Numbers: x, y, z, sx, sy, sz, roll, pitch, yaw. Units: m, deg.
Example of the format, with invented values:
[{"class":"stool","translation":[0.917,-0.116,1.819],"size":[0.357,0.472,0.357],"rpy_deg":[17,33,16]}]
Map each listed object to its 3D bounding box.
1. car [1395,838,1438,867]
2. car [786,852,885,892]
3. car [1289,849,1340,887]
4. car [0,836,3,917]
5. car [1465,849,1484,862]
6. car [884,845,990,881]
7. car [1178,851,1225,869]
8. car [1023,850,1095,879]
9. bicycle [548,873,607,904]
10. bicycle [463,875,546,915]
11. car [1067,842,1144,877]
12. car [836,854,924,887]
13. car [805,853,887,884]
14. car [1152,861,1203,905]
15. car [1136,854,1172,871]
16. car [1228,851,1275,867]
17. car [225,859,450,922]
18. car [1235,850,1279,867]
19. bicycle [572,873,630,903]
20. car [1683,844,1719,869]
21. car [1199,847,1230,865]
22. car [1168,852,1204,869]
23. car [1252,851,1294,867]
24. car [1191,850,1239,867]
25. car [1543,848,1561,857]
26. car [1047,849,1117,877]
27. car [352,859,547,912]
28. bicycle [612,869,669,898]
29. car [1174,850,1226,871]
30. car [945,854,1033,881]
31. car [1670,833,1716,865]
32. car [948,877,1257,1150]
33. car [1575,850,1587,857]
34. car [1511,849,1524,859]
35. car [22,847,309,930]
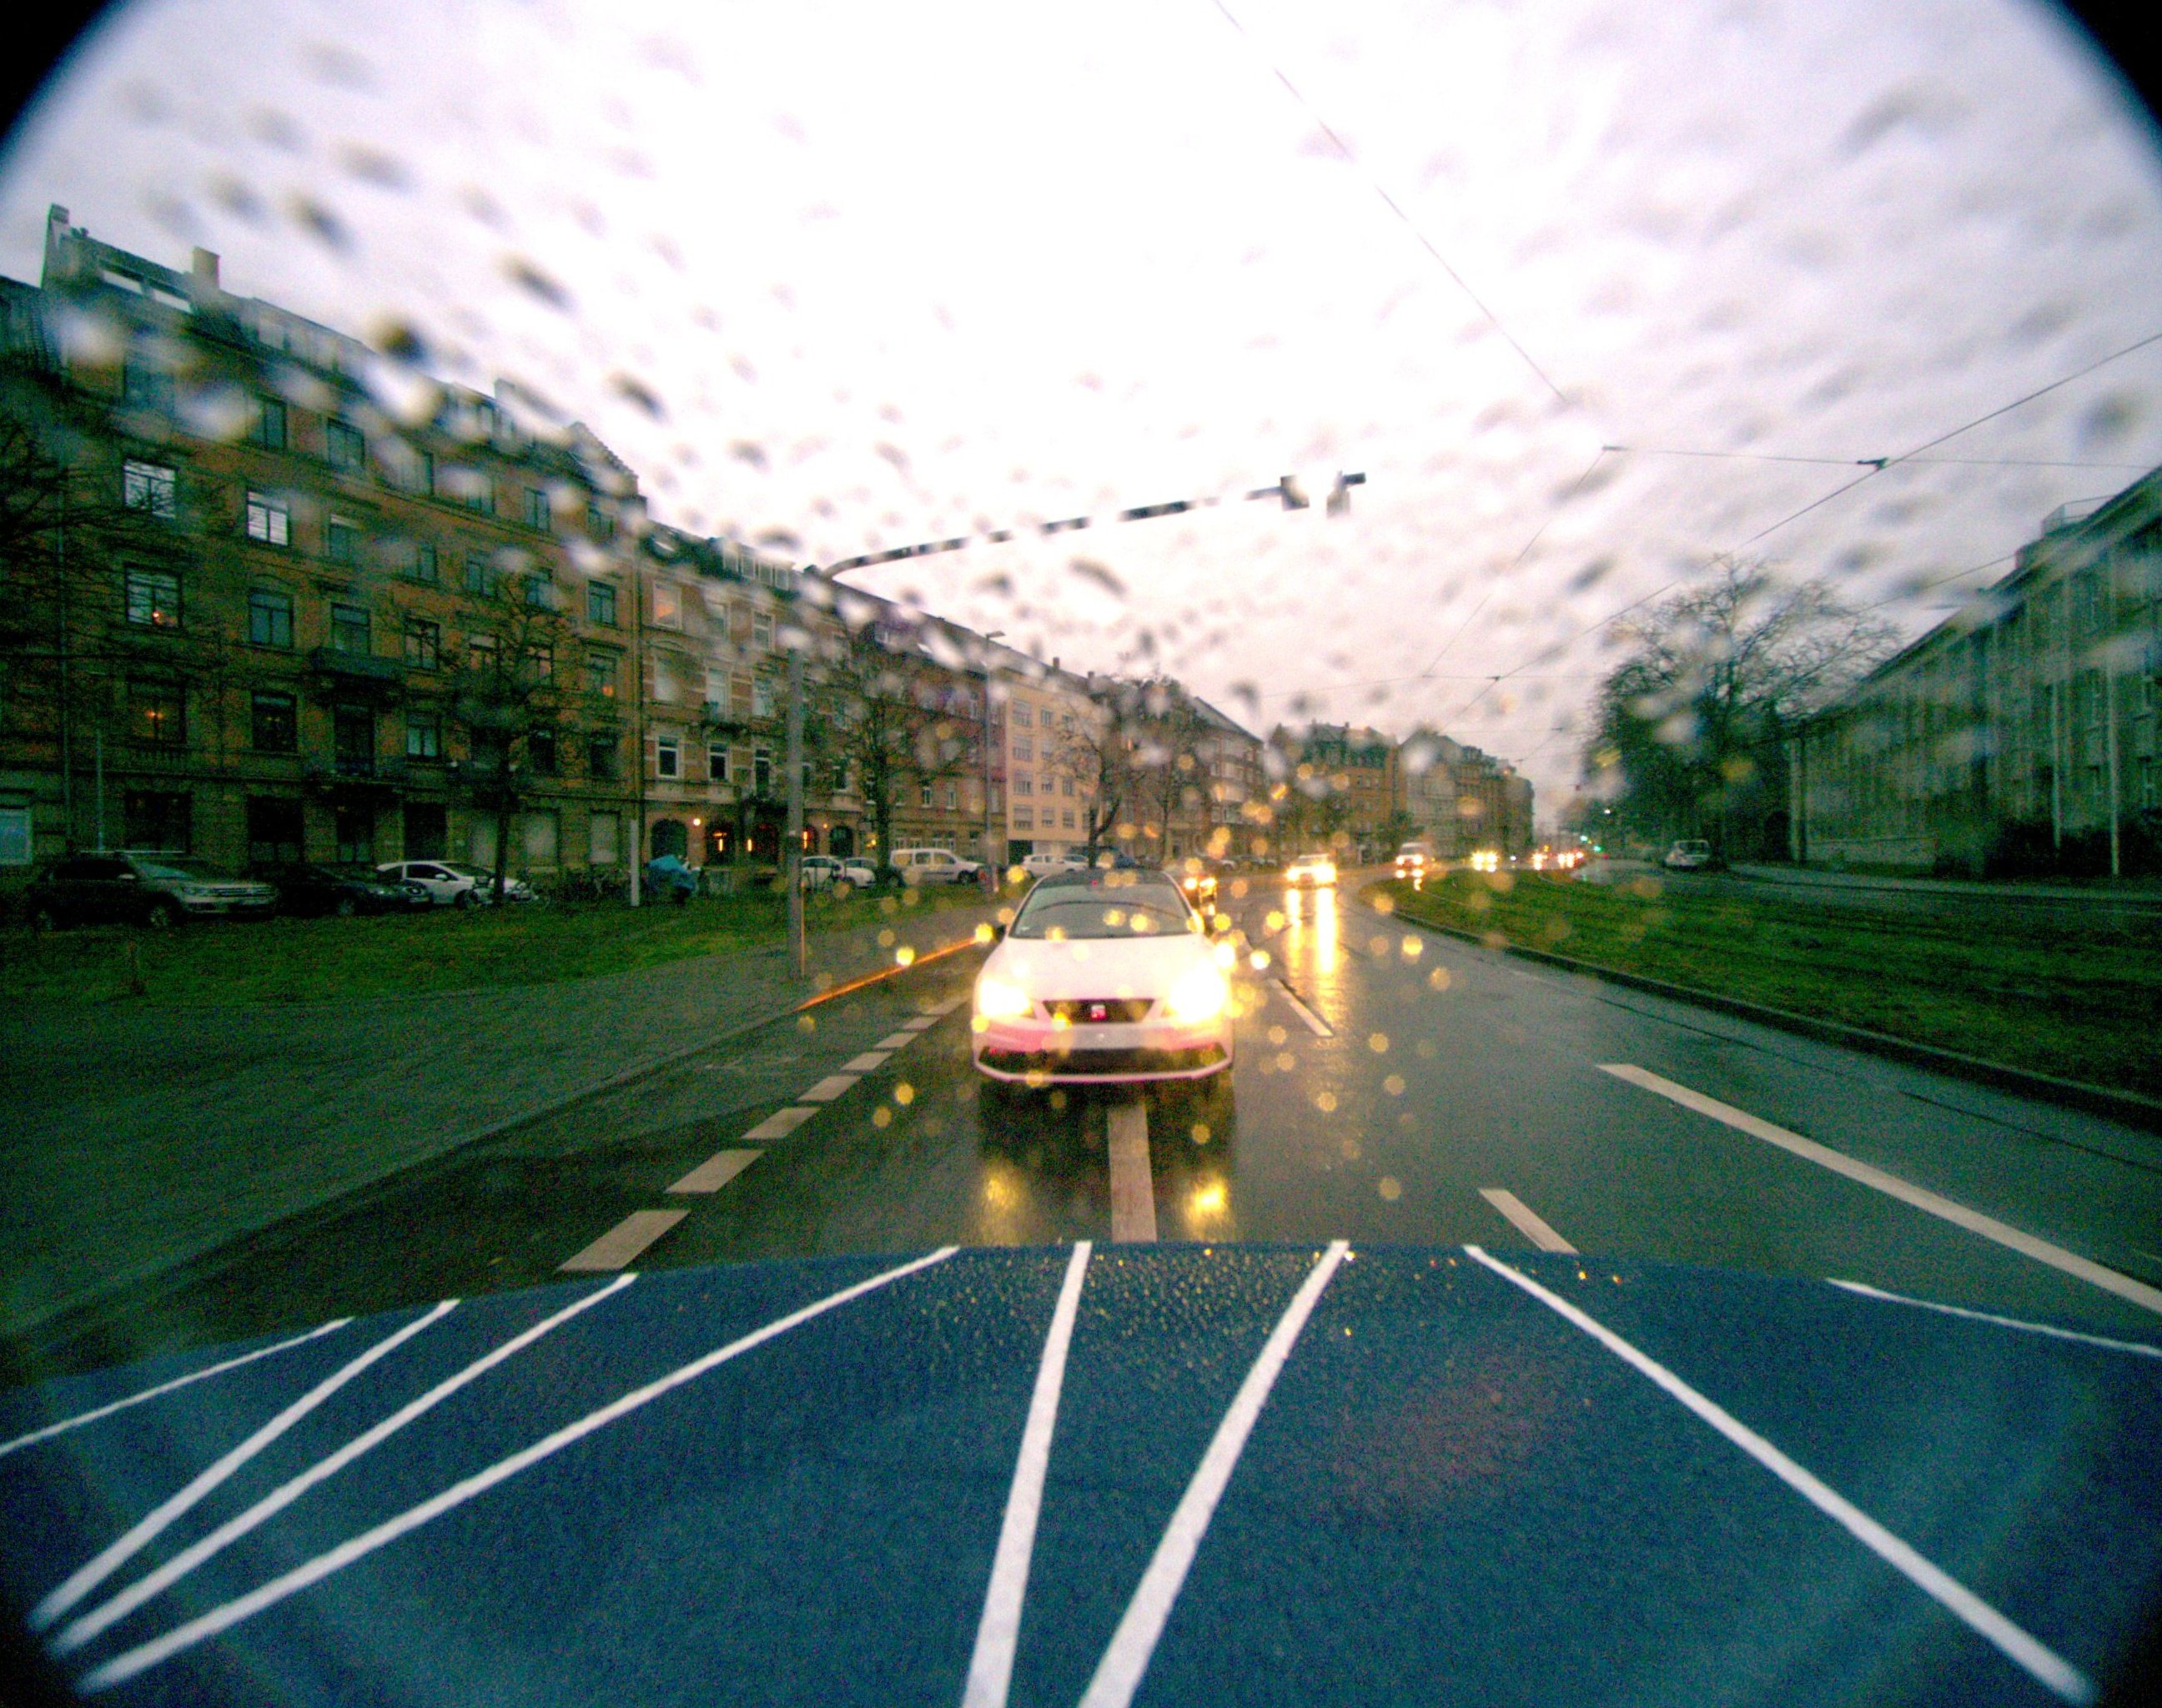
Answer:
[{"class":"car","translation":[30.462,-0.177,68.909],"size":[2.125,2.366,5.649],"rpy_deg":[-3,0,38]},{"class":"car","translation":[-10.064,0.728,31.292],"size":[3.462,1.434,1.615],"rpy_deg":[-2,0,6]},{"class":"car","translation":[11.489,0.650,37.237],"size":[1.671,1.650,4.155],"rpy_deg":[-3,0,26]},{"class":"car","translation":[-29.163,0.577,17.435],"size":[1.994,2.002,4.997],"rpy_deg":[1,1,33]},{"class":"car","translation":[56.394,0.204,108.843],"size":[1.646,1.740,3.562],"rpy_deg":[0,1,42]},{"class":"car","translation":[-6.783,0.415,36.098],"size":[4.659,1.583,1.778],"rpy_deg":[1,1,3]},{"class":"car","translation":[10.114,0.532,63.819],"size":[3.760,1.324,1.603],"rpy_deg":[-3,0,11]},{"class":"car","translation":[-1.233,0.614,43.292],"size":[3.770,1.424,1.762],"rpy_deg":[-3,0,8]},{"class":"bicycle","translation":[-16.201,1.116,24.454],"size":[2.165,0.960,0.627],"rpy_deg":[-2,-2,28]},{"class":"bicycle","translation":[-14.496,1.009,19.157],"size":[1.655,0.931,0.513],"rpy_deg":[0,0,-35]},{"class":"car","translation":[1.527,0.337,48.234],"size":[4.720,1.971,1.799],"rpy_deg":[-2,0,-2]},{"class":"car","translation":[-8.897,0.710,33.783],"size":[3.430,1.343,1.664],"rpy_deg":[-1,0,2]},{"class":"car","translation":[-12.817,0.757,41.603],"size":[1.733,1.492,4.058],"rpy_deg":[-3,-1,32]},{"class":"car","translation":[3.342,0.967,26.727],"size":[1.589,1.418,3.135],"rpy_deg":[-1,0,4]},{"class":"car","translation":[6.764,0.748,70.135],"size":[1.470,1.534,3.880],"rpy_deg":[0,0,37]},{"class":"car","translation":[14.670,0.417,65.384],"size":[3.762,1.271,1.602],"rpy_deg":[-1,0,5]},{"class":"car","translation":[-17.938,0.868,18.465],"size":[3.742,1.346,1.677],"rpy_deg":[-2,-1,-2]},{"class":"car","translation":[15.917,0.421,68.961],"size":[3.760,1.346,1.603],"rpy_deg":[-3,0,11]},{"class":"bicycle","translation":[-15.816,1.121,25.038],"size":[2.165,0.960,0.627],"rpy_deg":[-2,-2,28]},{"class":"car","translation":[39.266,0.148,48.182],"size":[1.557,1.420,2.960],"rpy_deg":[-1,1,36]},{"class":"car","translation":[14.067,0.205,79.983],"size":[1.670,1.693,3.472],"rpy_deg":[-3,0,39]},{"class":"car","translation":[10.439,0.636,75.445],"size":[1.690,1.534,4.008],"rpy_deg":[-3,0,37]},{"class":"car","translation":[18.131,0.479,71.933],"size":[3.760,1.346,1.603],"rpy_deg":[-3,0,11]},{"class":"car","translation":[10.923,0.367,61.937],"size":[3.760,1.325,1.603],"rpy_deg":[-1,1,11]},{"class":"car","translation":[79.974,-0.248,128.959],"size":[1.892,1.405,3.955],"rpy_deg":[0,0,42]},{"class":"car","translation":[0.031,0.547,45.404],"size":[3.998,1.406,1.641],"rpy_deg":[-3,0,-2]},{"class":"car","translation":[-17.156,0.831,20.788],"size":[3.856,1.329,1.698],"rpy_deg":[-1,0,-1]},{"class":"bicycle","translation":[-15.127,0.994,26.066],"size":[2.165,0.960,0.627],"rpy_deg":[0,1,28]},{"class":"car","translation":[9.300,0.534,59.457],"size":[3.869,1.397,1.695],"rpy_deg":[-3,0,6]},{"class":"car","translation":[-4.613,0.664,38.376],"size":[4.058,1.227,1.771],"rpy_deg":[1,-1,5]},{"class":"car","translation":[41.711,-0.363,51.886],"size":[1.995,2.002,4.518],"rpy_deg":[-3,0,34]},{"class":"car","translation":[0.180,0.983,6.235],"size":[1.715,1.404,3.680],"rpy_deg":[-3,0,2]},{"class":"car","translation":[132.522,-0.242,201.362],"size":[1.948,1.804,4.008],"rpy_deg":[-1,0,42]},{"class":"car","translation":[71.611,-0.068,124.719],"size":[1.719,1.608,3.946],"rpy_deg":[-1,0,32]},{"class":"car","translation":[-19.566,0.688,16.376],"size":[3.996,1.627,1.944],"rpy_deg":[0,1,4]}]
